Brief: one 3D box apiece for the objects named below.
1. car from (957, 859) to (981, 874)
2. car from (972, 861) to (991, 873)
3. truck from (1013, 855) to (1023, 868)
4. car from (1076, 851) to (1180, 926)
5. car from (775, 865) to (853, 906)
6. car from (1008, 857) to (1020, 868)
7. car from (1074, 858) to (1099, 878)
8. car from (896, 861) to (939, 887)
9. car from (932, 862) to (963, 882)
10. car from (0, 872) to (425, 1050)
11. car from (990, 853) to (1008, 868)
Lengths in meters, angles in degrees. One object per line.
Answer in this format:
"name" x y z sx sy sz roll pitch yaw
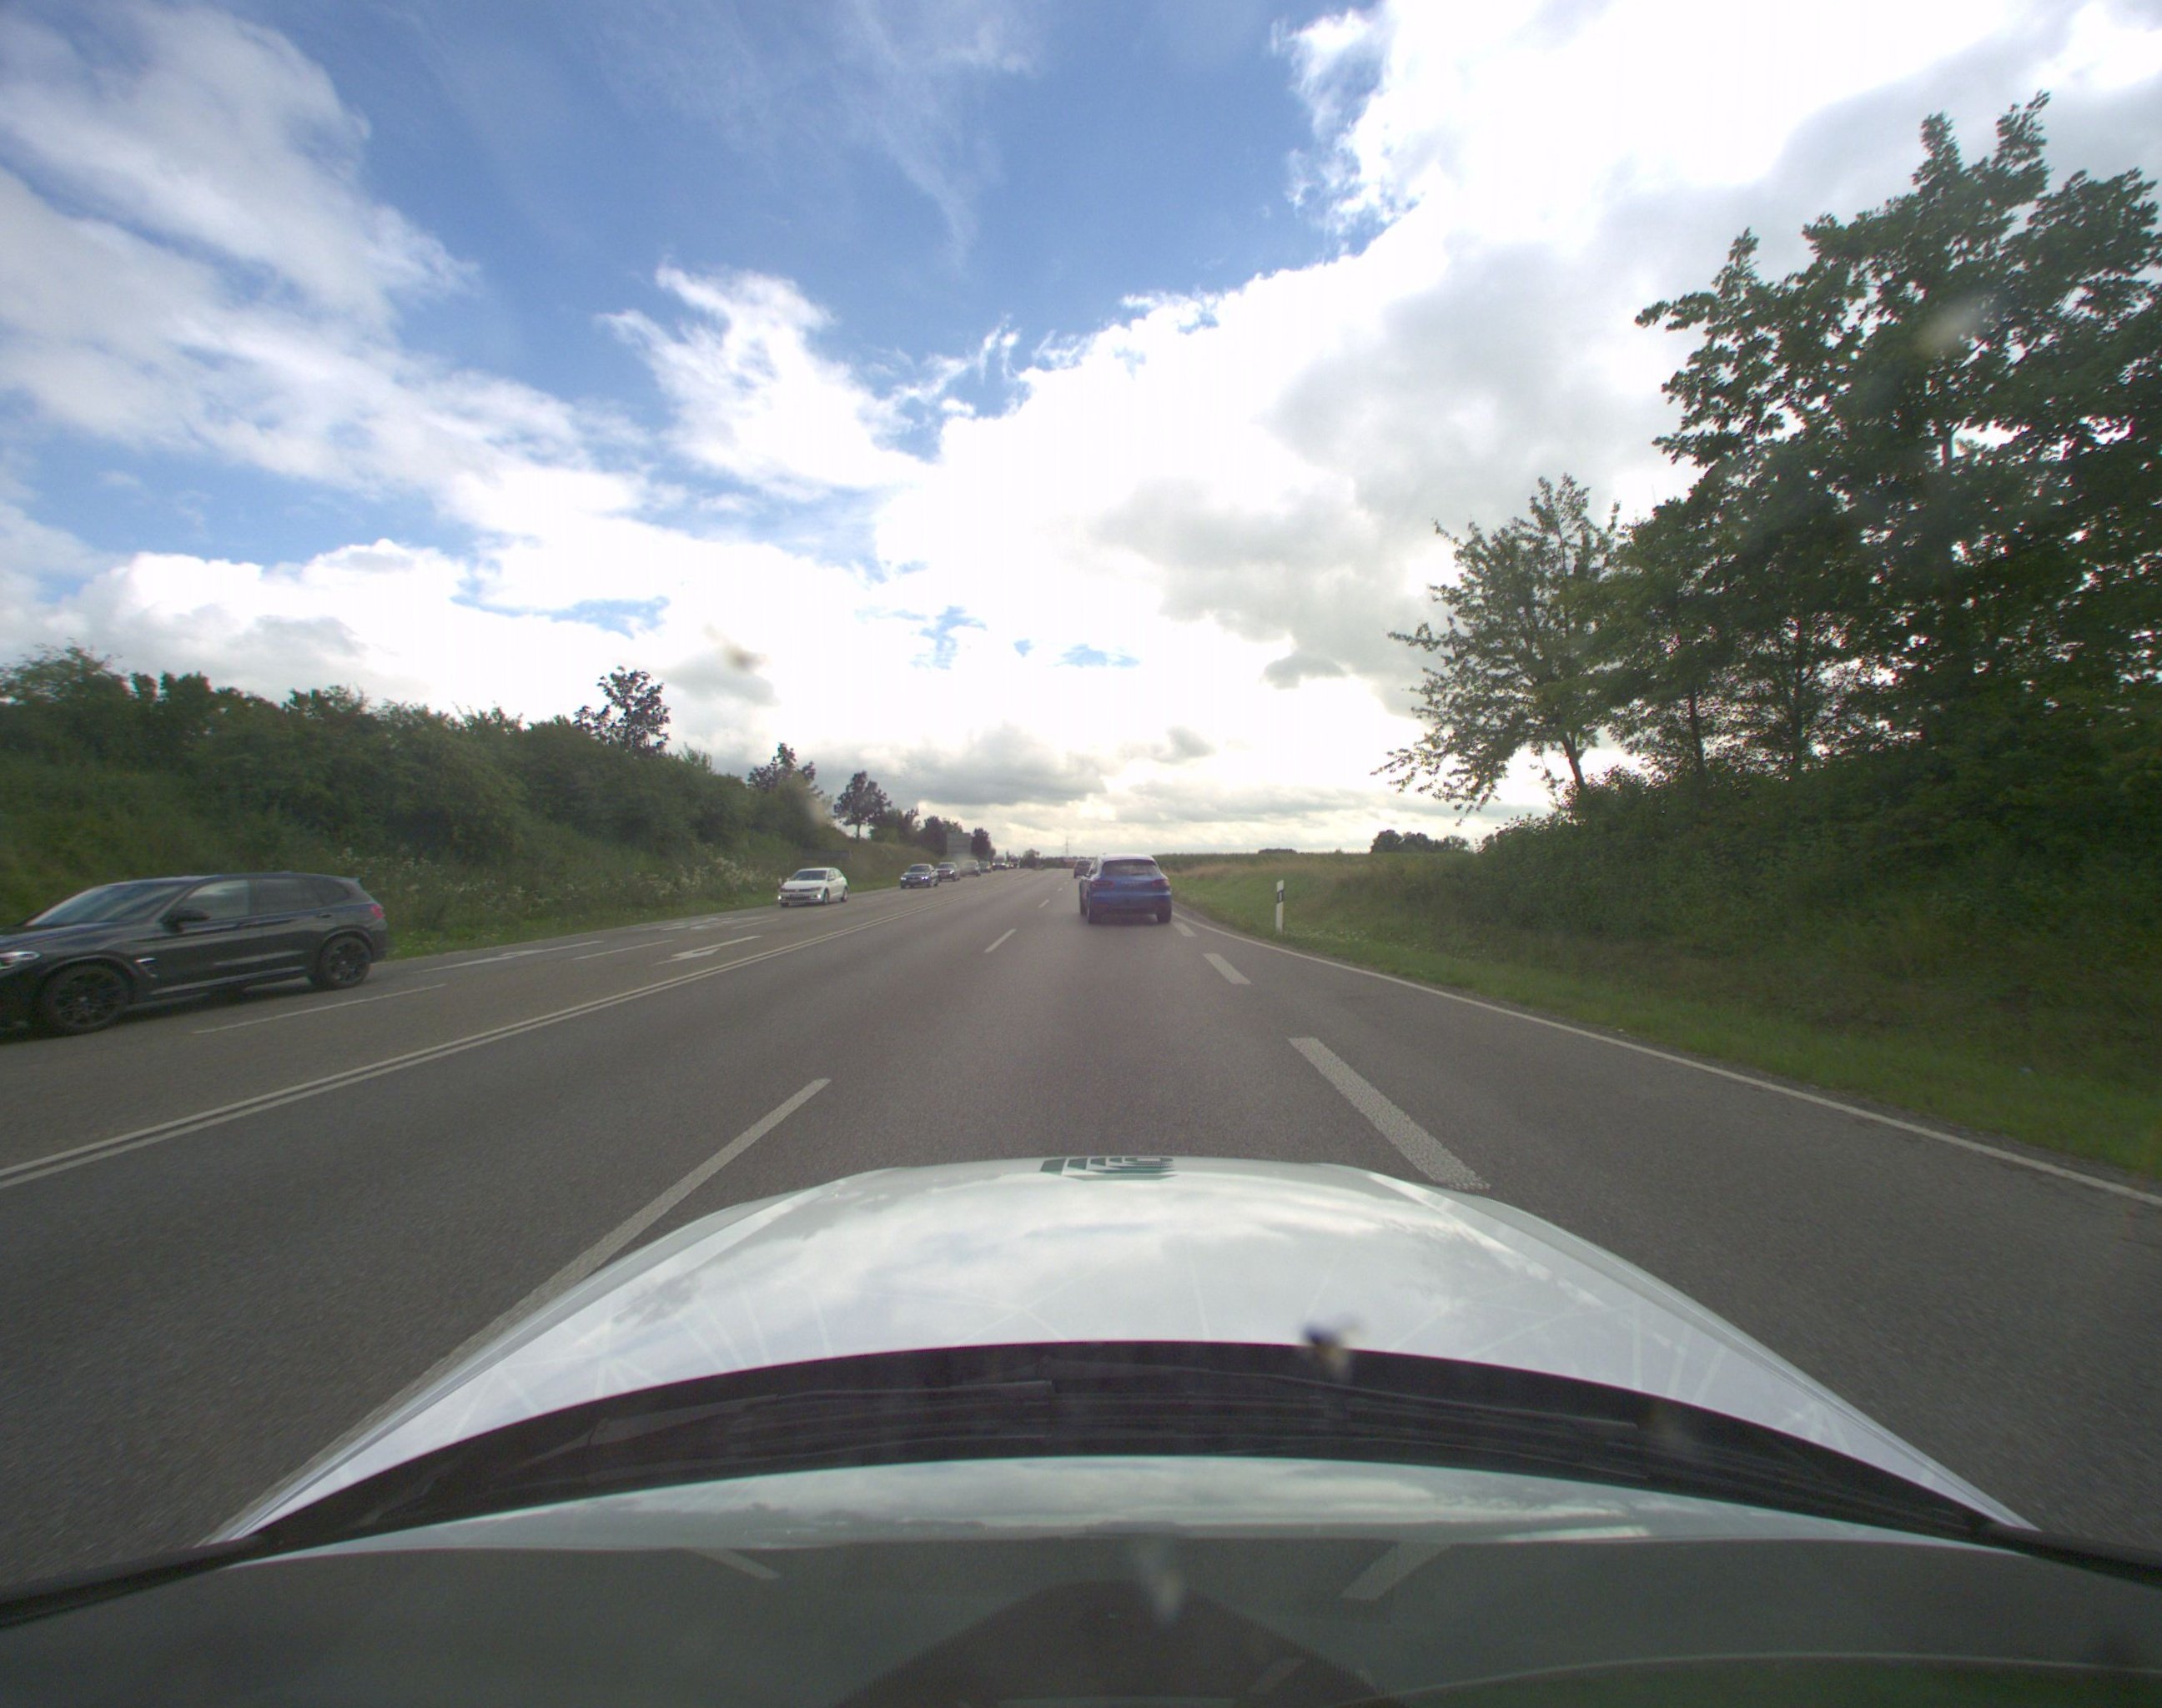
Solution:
"car" -11.546 1.285 84.211 1.987 1.508 3.999 -2 0 0
"car" -12.868 1.641 105.542 1.989 1.491 3.996 -2 0 -2
"truck" -18.372 2.068 236.521 2.564 3.635 14.635 -2 0 -5
"car" 1.033 0.779 20.395 1.990 1.570 4.749 -2 0 -4
"car" -10.463 1.206 32.245 1.662 1.442 4.146 -1 0 0
"car" -14.170 1.782 172.492 2.360 2.211 5.298 -2 0 -5
"car" 0.426 1.133 66.136 1.988 1.535 3.998 -1 0 -1
"car" -10.256 1.232 51.262 1.989 1.508 3.996 -2 0 -2
"car" -10.851 1.418 66.401 1.791 1.486 4.167 -2 0 0
"car" -11.299 1.111 10.198 1.986 1.610 4.995 -2 0 2
"car" -12.975 0.986 129.805 2.357 2.211 5.918 -2 0 -2
